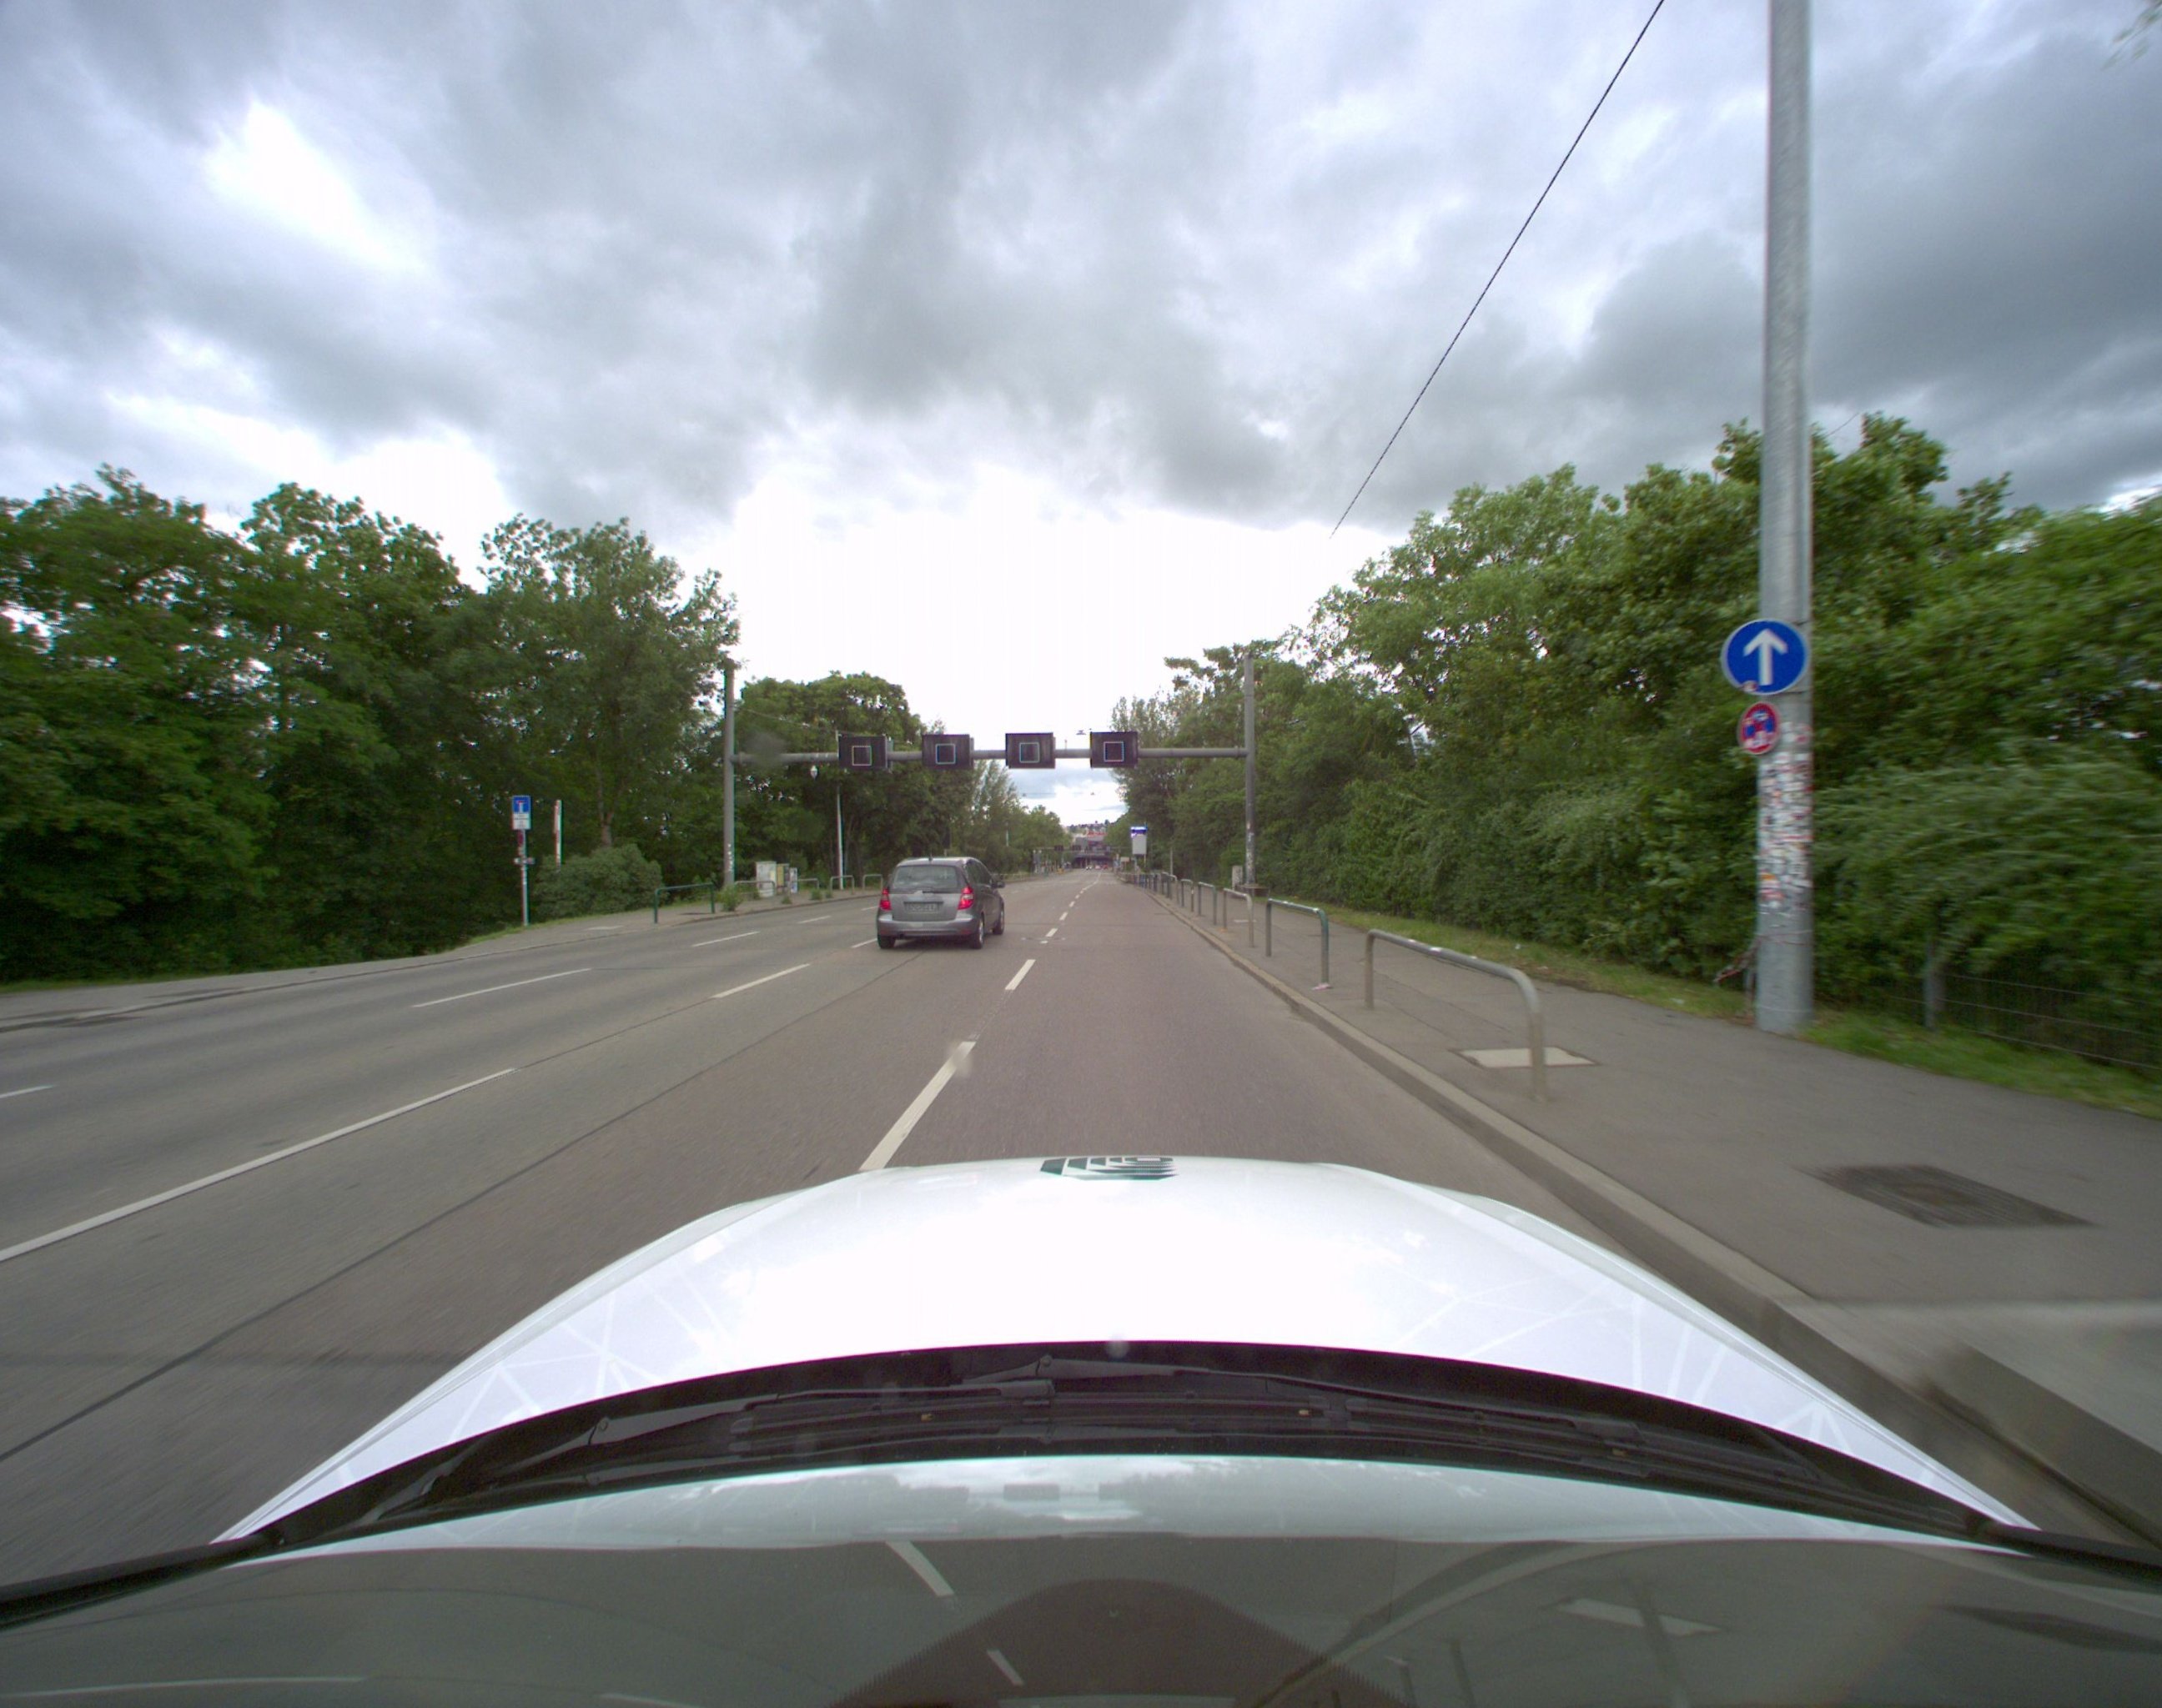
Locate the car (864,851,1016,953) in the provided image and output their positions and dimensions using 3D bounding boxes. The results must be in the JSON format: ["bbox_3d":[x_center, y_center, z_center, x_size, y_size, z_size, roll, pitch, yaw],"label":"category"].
[{"bbox_3d":[-2.448,0.832,15.206,1.818,1.616,4.038,1,-2,4],"label":"car"}]
